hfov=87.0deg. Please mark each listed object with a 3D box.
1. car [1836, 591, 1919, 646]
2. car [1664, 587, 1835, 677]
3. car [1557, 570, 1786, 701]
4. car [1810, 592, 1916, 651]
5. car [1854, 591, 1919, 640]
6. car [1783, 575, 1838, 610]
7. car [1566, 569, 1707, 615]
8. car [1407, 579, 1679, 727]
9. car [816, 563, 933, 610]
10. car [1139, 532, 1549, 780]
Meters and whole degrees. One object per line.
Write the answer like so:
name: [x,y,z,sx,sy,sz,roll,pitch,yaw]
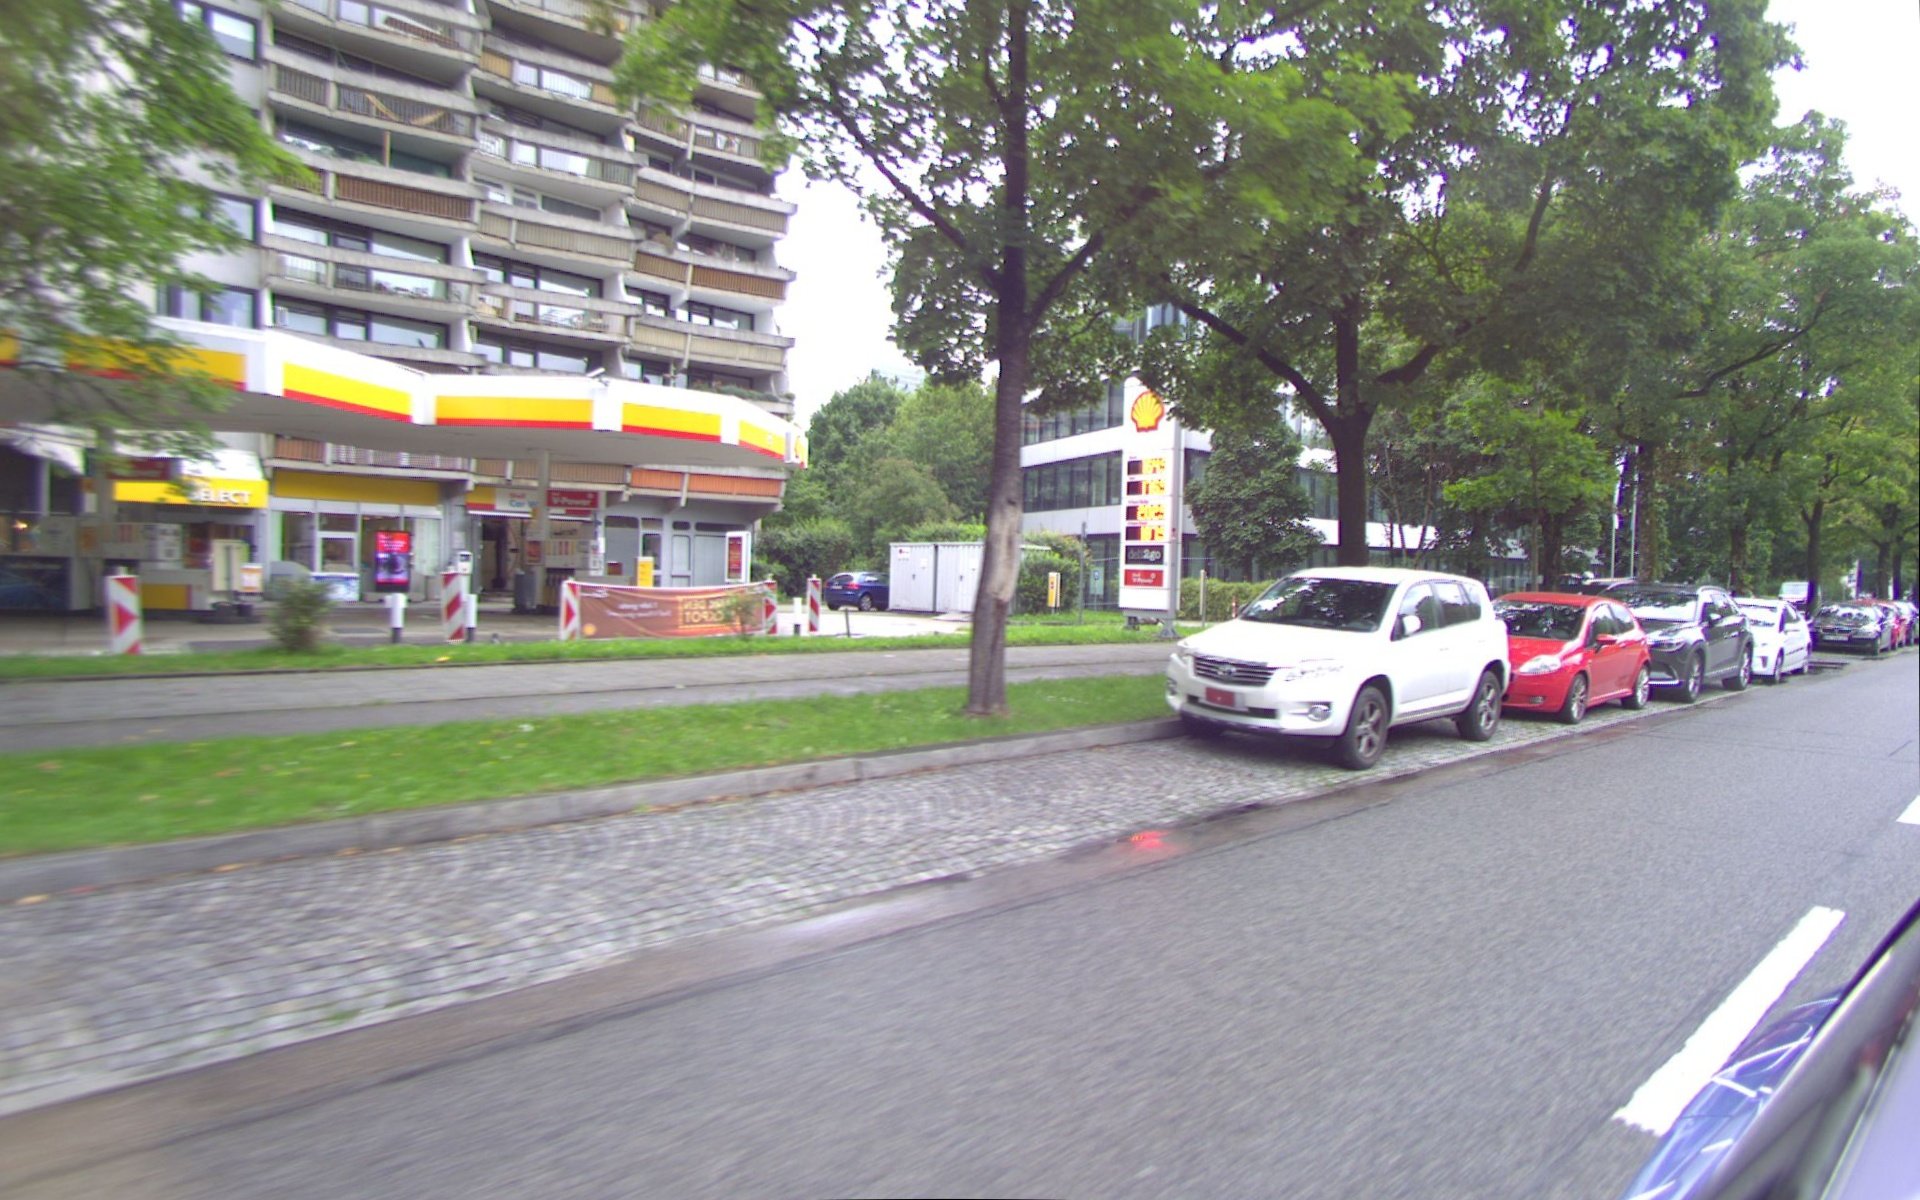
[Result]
car: [29.257,0.546,32.056,3.951,1.519,1.679,0,4,-41]
car: [15.557,0.552,19.848,4.552,1.471,1.764,0,4,-41]
car: [11.494,0.466,16.188,5.139,1.719,1.764,0,4,-41]
car: [26.038,0.567,29.131,4.502,1.471,1.679,0,4,-41]
car: [32.546,0.509,34.955,4.207,1.529,1.784,0,3,-39]
car: [61.252,-0.528,72.846,6.162,2.335,2.268,0,2,-43]
car: [33.628,-0.449,50.467,2.109,2.109,5.480,0,2,-41]
car: [7.619,0.566,13.076,4.071,1.525,1.764,0,4,-41]
car: [-3.047,-0.493,36.396,1.885,1.539,3.937,3,2,43]
car: [3.878,0.384,9.818,4.449,1.853,1.764,0,4,-41]
